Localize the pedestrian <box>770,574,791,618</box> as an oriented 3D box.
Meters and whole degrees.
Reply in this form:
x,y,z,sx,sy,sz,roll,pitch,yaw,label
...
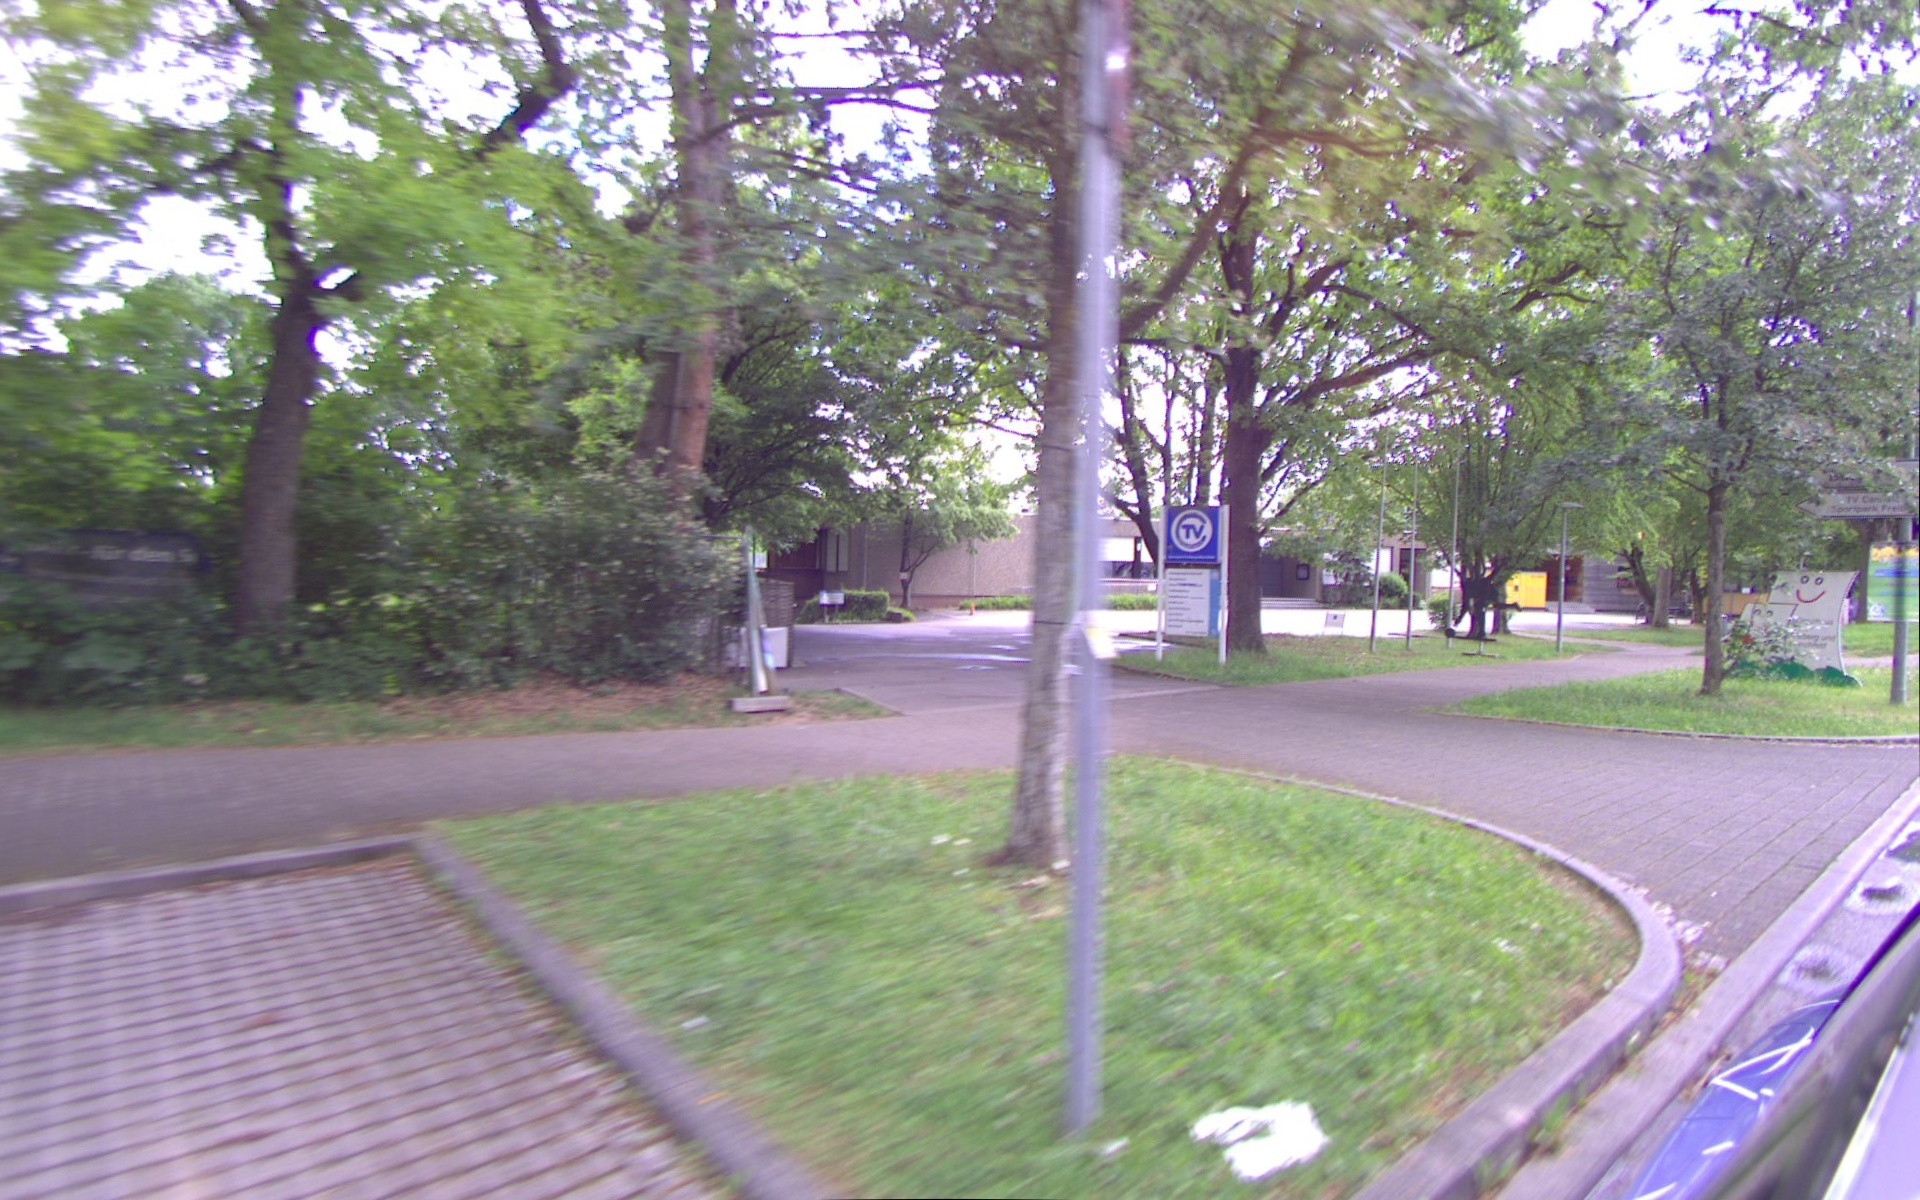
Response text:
x,y,z,sx,sy,sz,roll,pitch,yaw,label
-6.853,-0.148,38.601,0.671,1.672,0.503,0,1,-24,pedestrian
